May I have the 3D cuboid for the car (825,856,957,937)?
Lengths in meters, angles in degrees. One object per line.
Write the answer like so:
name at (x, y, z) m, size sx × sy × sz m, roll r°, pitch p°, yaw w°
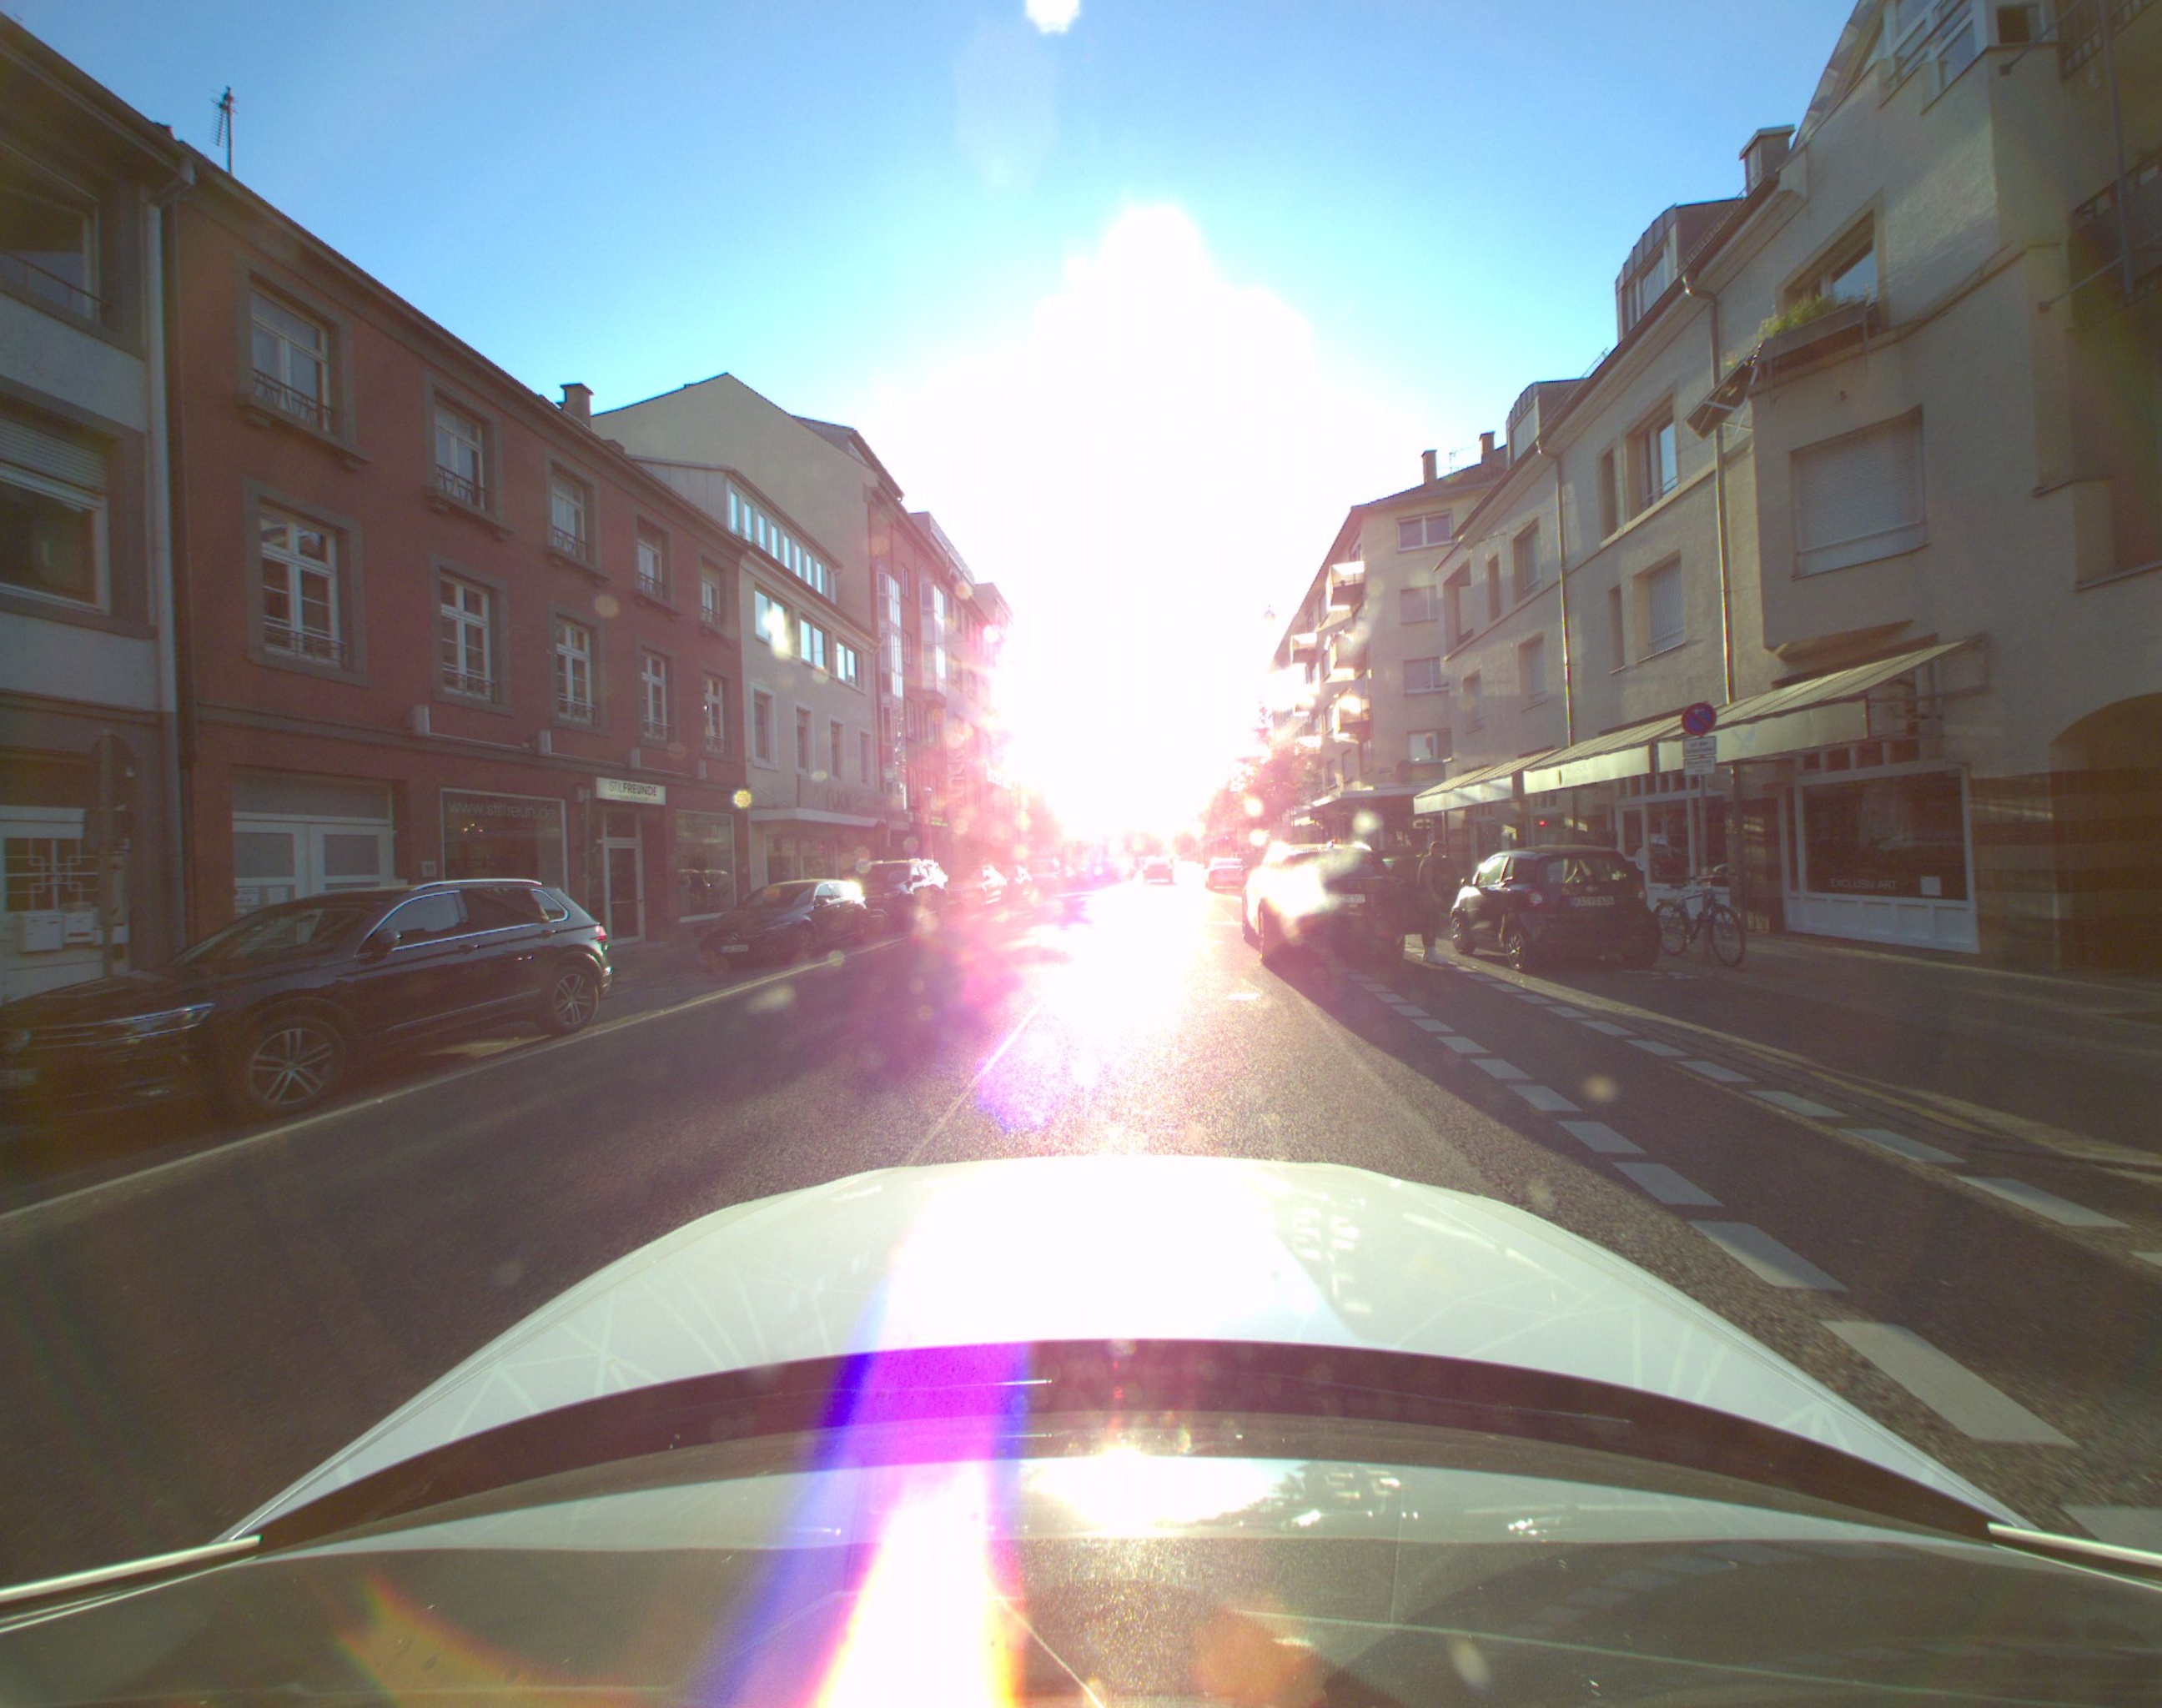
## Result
car at (-4.983, 1.034, 22.214) m, size 1.818 × 1.810 × 5.355 m, roll -4°, pitch 0°, yaw 5°

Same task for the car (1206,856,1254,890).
car at (6.719, 0.820, 37.107) m, size 1.912 × 1.415 × 4.557 m, roll 0°, pitch 0°, yaw 7°

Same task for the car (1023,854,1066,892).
car at (-1.944, 1.000, 44.172) m, size 1.825 × 1.854 × 4.127 m, roll -2°, pitch -1°, yaw 3°

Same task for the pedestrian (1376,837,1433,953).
pedestrian at (4.824, 0.595, 12.160) m, size 0.443 × 1.665 × 0.562 m, roll -3°, pitch -1°, yaw -18°

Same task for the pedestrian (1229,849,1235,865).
pedestrian at (16.825, 0.325, 90.641) m, size 0.495 × 1.715 × 0.460 m, roll -2°, pitch 0°, yaw -13°

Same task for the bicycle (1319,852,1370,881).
bicycle at (11.166, 0.517, 34.525) m, size 1.907 × 1.155 × 0.656 m, roll -3°, pitch -1°, yaw 44°

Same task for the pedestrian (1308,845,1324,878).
pedestrian at (12.746, 0.412, 44.203) m, size 0.683 × 1.721 × 0.719 m, roll -3°, pitch -1°, yaw 12°

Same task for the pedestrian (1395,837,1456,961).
pedestrian at (4.836, 0.619, 11.455) m, size 0.443 × 1.665 × 0.562 m, roll -3°, pitch -1°, yaw -18°

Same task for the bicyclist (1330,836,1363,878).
bicyclist at (11.217, 0.120, 34.461) m, size 1.081 × 1.702 × 0.656 m, roll -3°, pitch -1°, yaw 44°

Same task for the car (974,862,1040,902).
car at (-3.072, 1.139, 34.912) m, size 1.818 × 1.439 × 4.562 m, roll -5°, pitch -1°, yaw 7°

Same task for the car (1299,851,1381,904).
car at (7.979, 0.692, 25.417) m, size 1.694 × 1.436 × 3.939 m, roll -4°, pitch -1°, yaw 7°

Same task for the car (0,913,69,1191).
car at (-7.089, 1.165, 2.900) m, size 1.764 × 1.515 × 3.958 m, roll -4°, pitch 0°, yaw 7°

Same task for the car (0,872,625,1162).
car at (-6.348, 1.094, 7.193) m, size 1.764 × 1.633 × 4.246 m, roll -4°, pitch 0°, yaw 7°

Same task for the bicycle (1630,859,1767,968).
bicycle at (7.760, 0.692, 10.338) m, size 0.395 × 1.234 × 1.828 m, roll -3°, pitch 0°, yaw 4°

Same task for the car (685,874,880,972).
car at (-5.589, 1.225, 15.900) m, size 1.704 × 1.440 × 4.318 m, roll -4°, pitch 0°, yaw 7°

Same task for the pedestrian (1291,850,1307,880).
pedestrian at (11.880, 0.587, 44.416) m, size 0.684 × 1.559 × 0.864 m, roll -3°, pitch -1°, yaw 6°

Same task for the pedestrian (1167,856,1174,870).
pedestrian at (10.225, 1.036, 92.637) m, size 0.575 × 1.644 × 0.525 m, roll -2°, pitch 0°, yaw -15°

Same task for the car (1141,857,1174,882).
car at (4.735, 0.907, 49.912) m, size 1.873 × 1.415 × 4.333 m, roll -2°, pitch 0°, yaw 7°

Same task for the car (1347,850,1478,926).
car at (7.133, 0.683, 17.903) m, size 1.625 × 1.424 × 3.764 m, roll -3°, pitch -1°, yaw 6°

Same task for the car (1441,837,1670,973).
car at (6.283, 0.616, 11.119) m, size 1.625 × 1.553 × 2.697 m, roll -3°, pitch 0°, yaw 4°

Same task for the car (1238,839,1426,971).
car at (3.619, 0.652, 12.653) m, size 1.984 × 1.655 × 4.683 m, roll -1°, pitch 0°, yaw 7°

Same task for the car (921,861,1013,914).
car at (-3.902, 1.115, 28.890) m, size 1.817 × 1.556 × 5.146 m, roll -4°, pitch -1°, yaw 7°

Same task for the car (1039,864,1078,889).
car at (-1.332, 1.326, 50.034) m, size 1.824 × 1.328 × 4.130 m, roll -3°, pitch 0°, yaw 5°

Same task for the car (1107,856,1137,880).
car at (3.128, 1.015, 61.961) m, size 1.912 × 1.602 × 4.334 m, roll -2°, pitch 0°, yaw 7°
